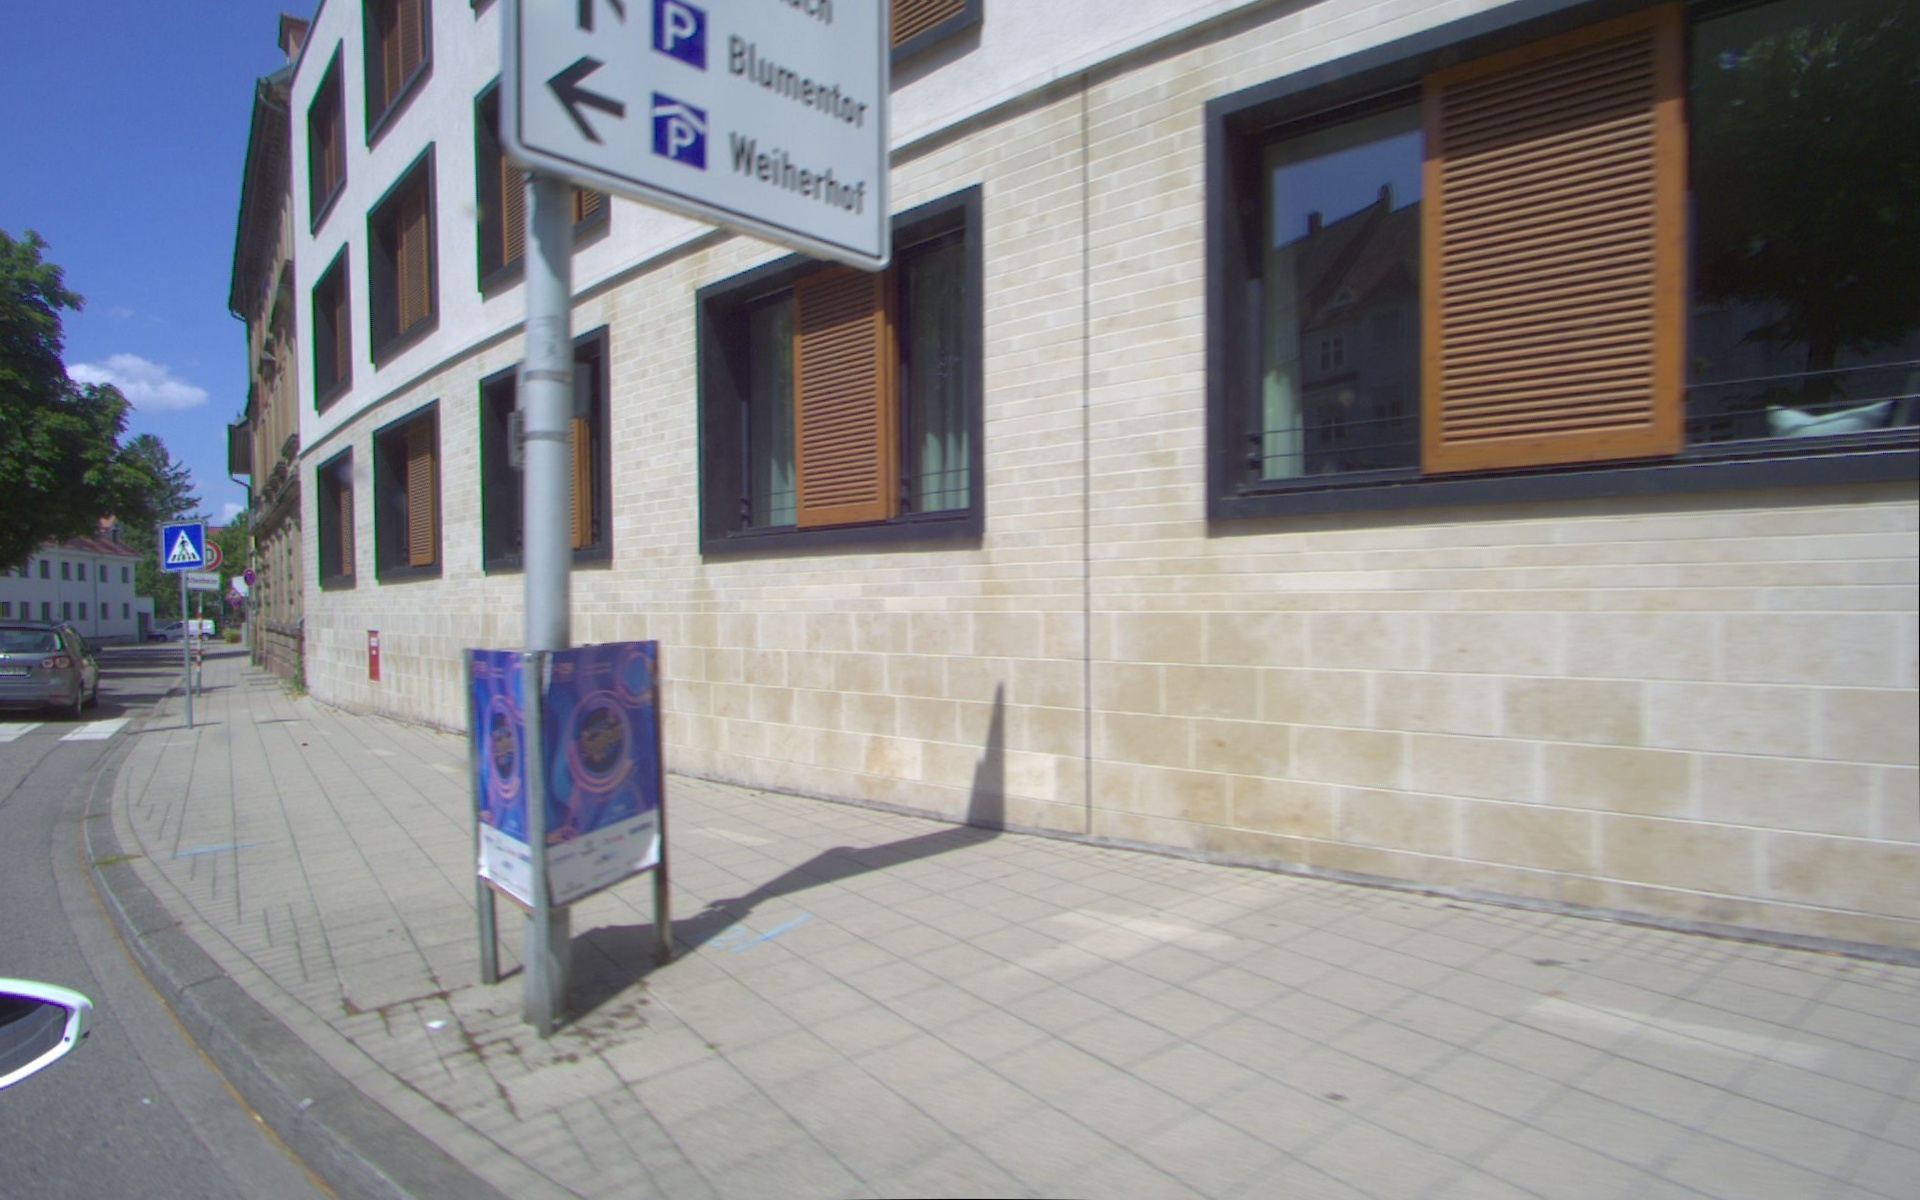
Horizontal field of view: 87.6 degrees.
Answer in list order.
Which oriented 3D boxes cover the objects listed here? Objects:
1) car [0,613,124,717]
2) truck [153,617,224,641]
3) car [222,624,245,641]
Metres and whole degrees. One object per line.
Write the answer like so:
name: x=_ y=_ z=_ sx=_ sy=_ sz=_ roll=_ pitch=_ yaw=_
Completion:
car: x=-15.734 y=1.033 z=16.974 sx=1.886 sy=1.553 sz=4.216 roll=3 pitch=-3 yaw=-34
truck: x=-67.149 y=2.484 z=87.225 sx=4.761 sy=2.040 sz=2.125 roll=1 pitch=-1 yaw=-44
car: x=-67.485 y=3.013 z=93.037 sx=1.632 sy=1.594 sz=3.613 roll=1 pitch=-1 yaw=-36
